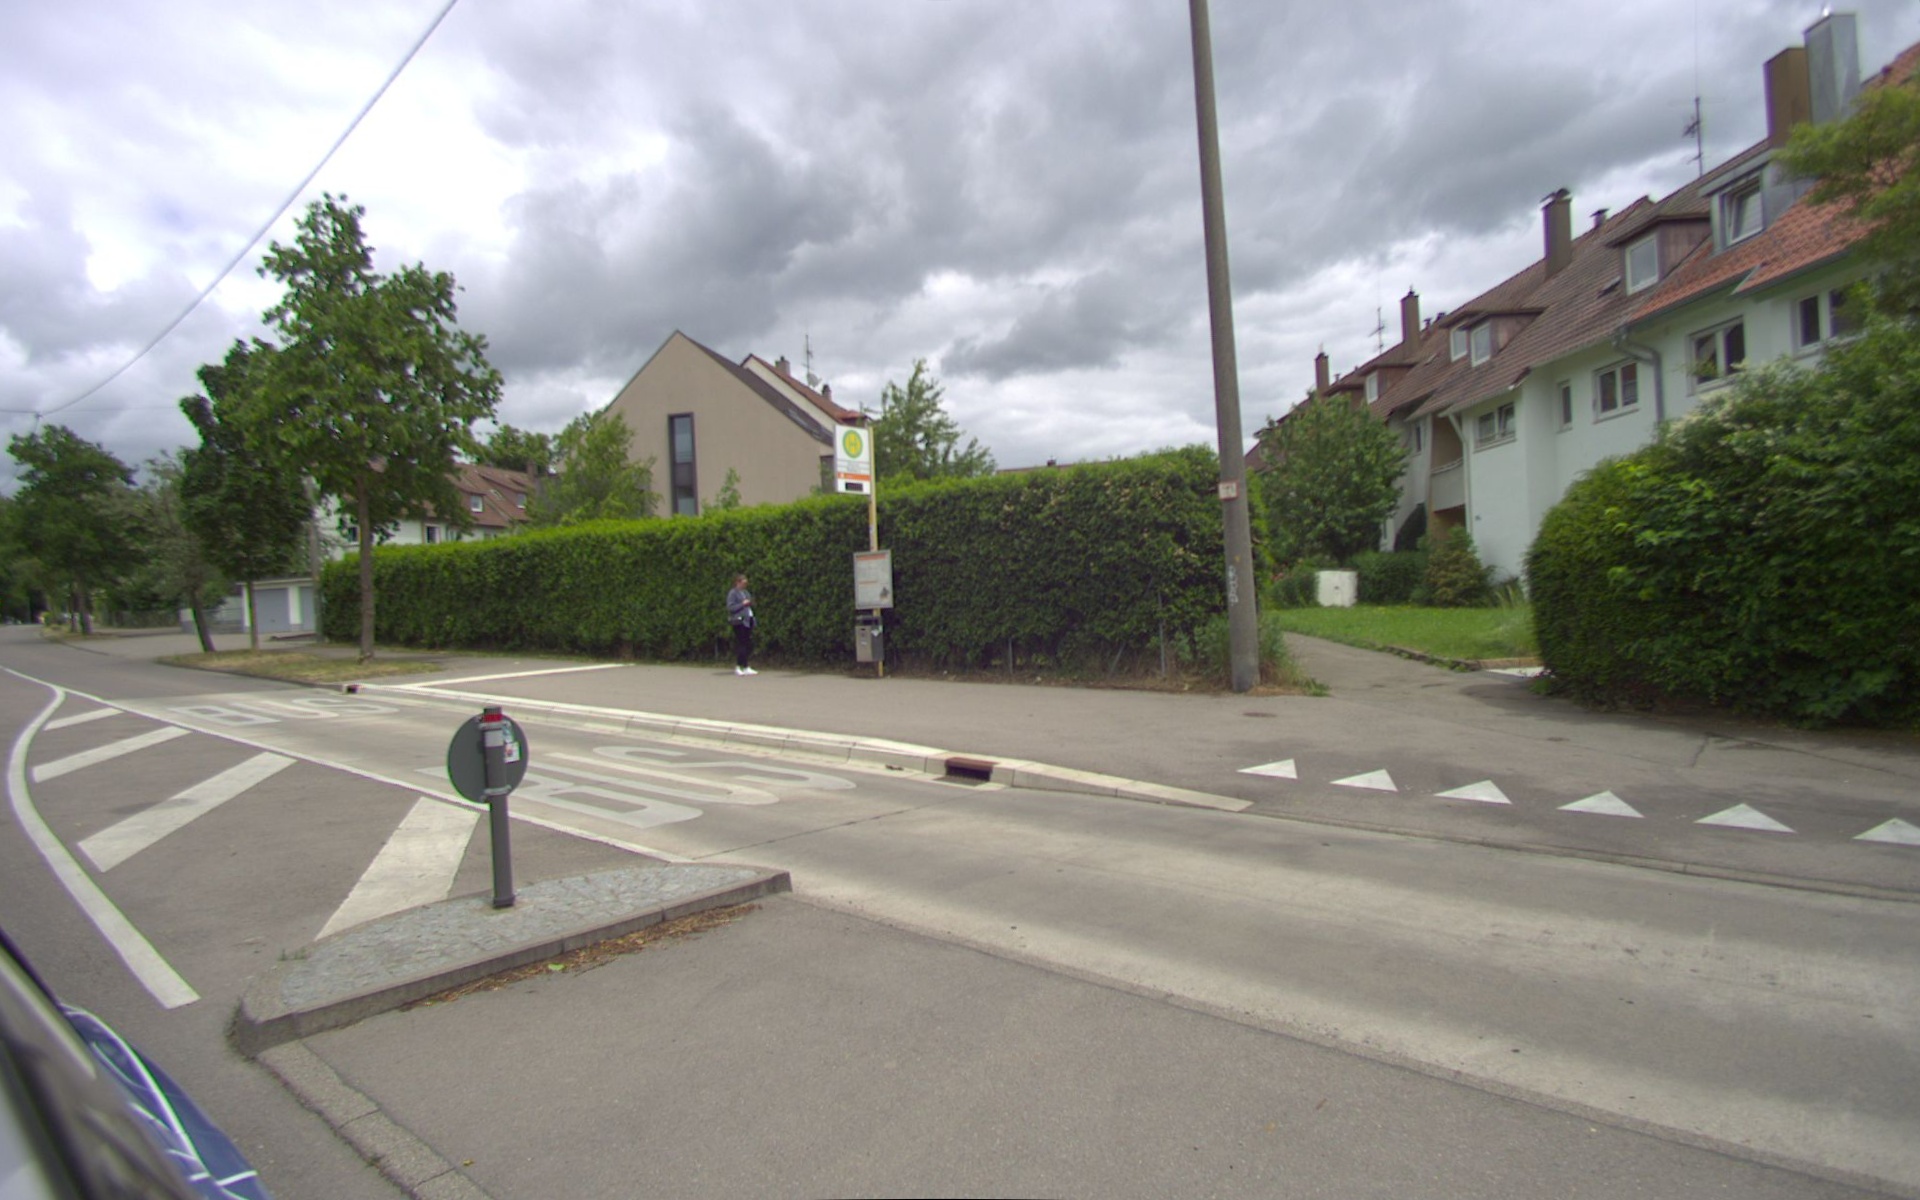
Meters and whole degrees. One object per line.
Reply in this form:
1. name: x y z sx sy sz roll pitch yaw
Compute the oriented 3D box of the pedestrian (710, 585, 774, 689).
1. pedestrian: -3.707 0.614 17.211 0.776 1.723 0.686 -1 0 35
